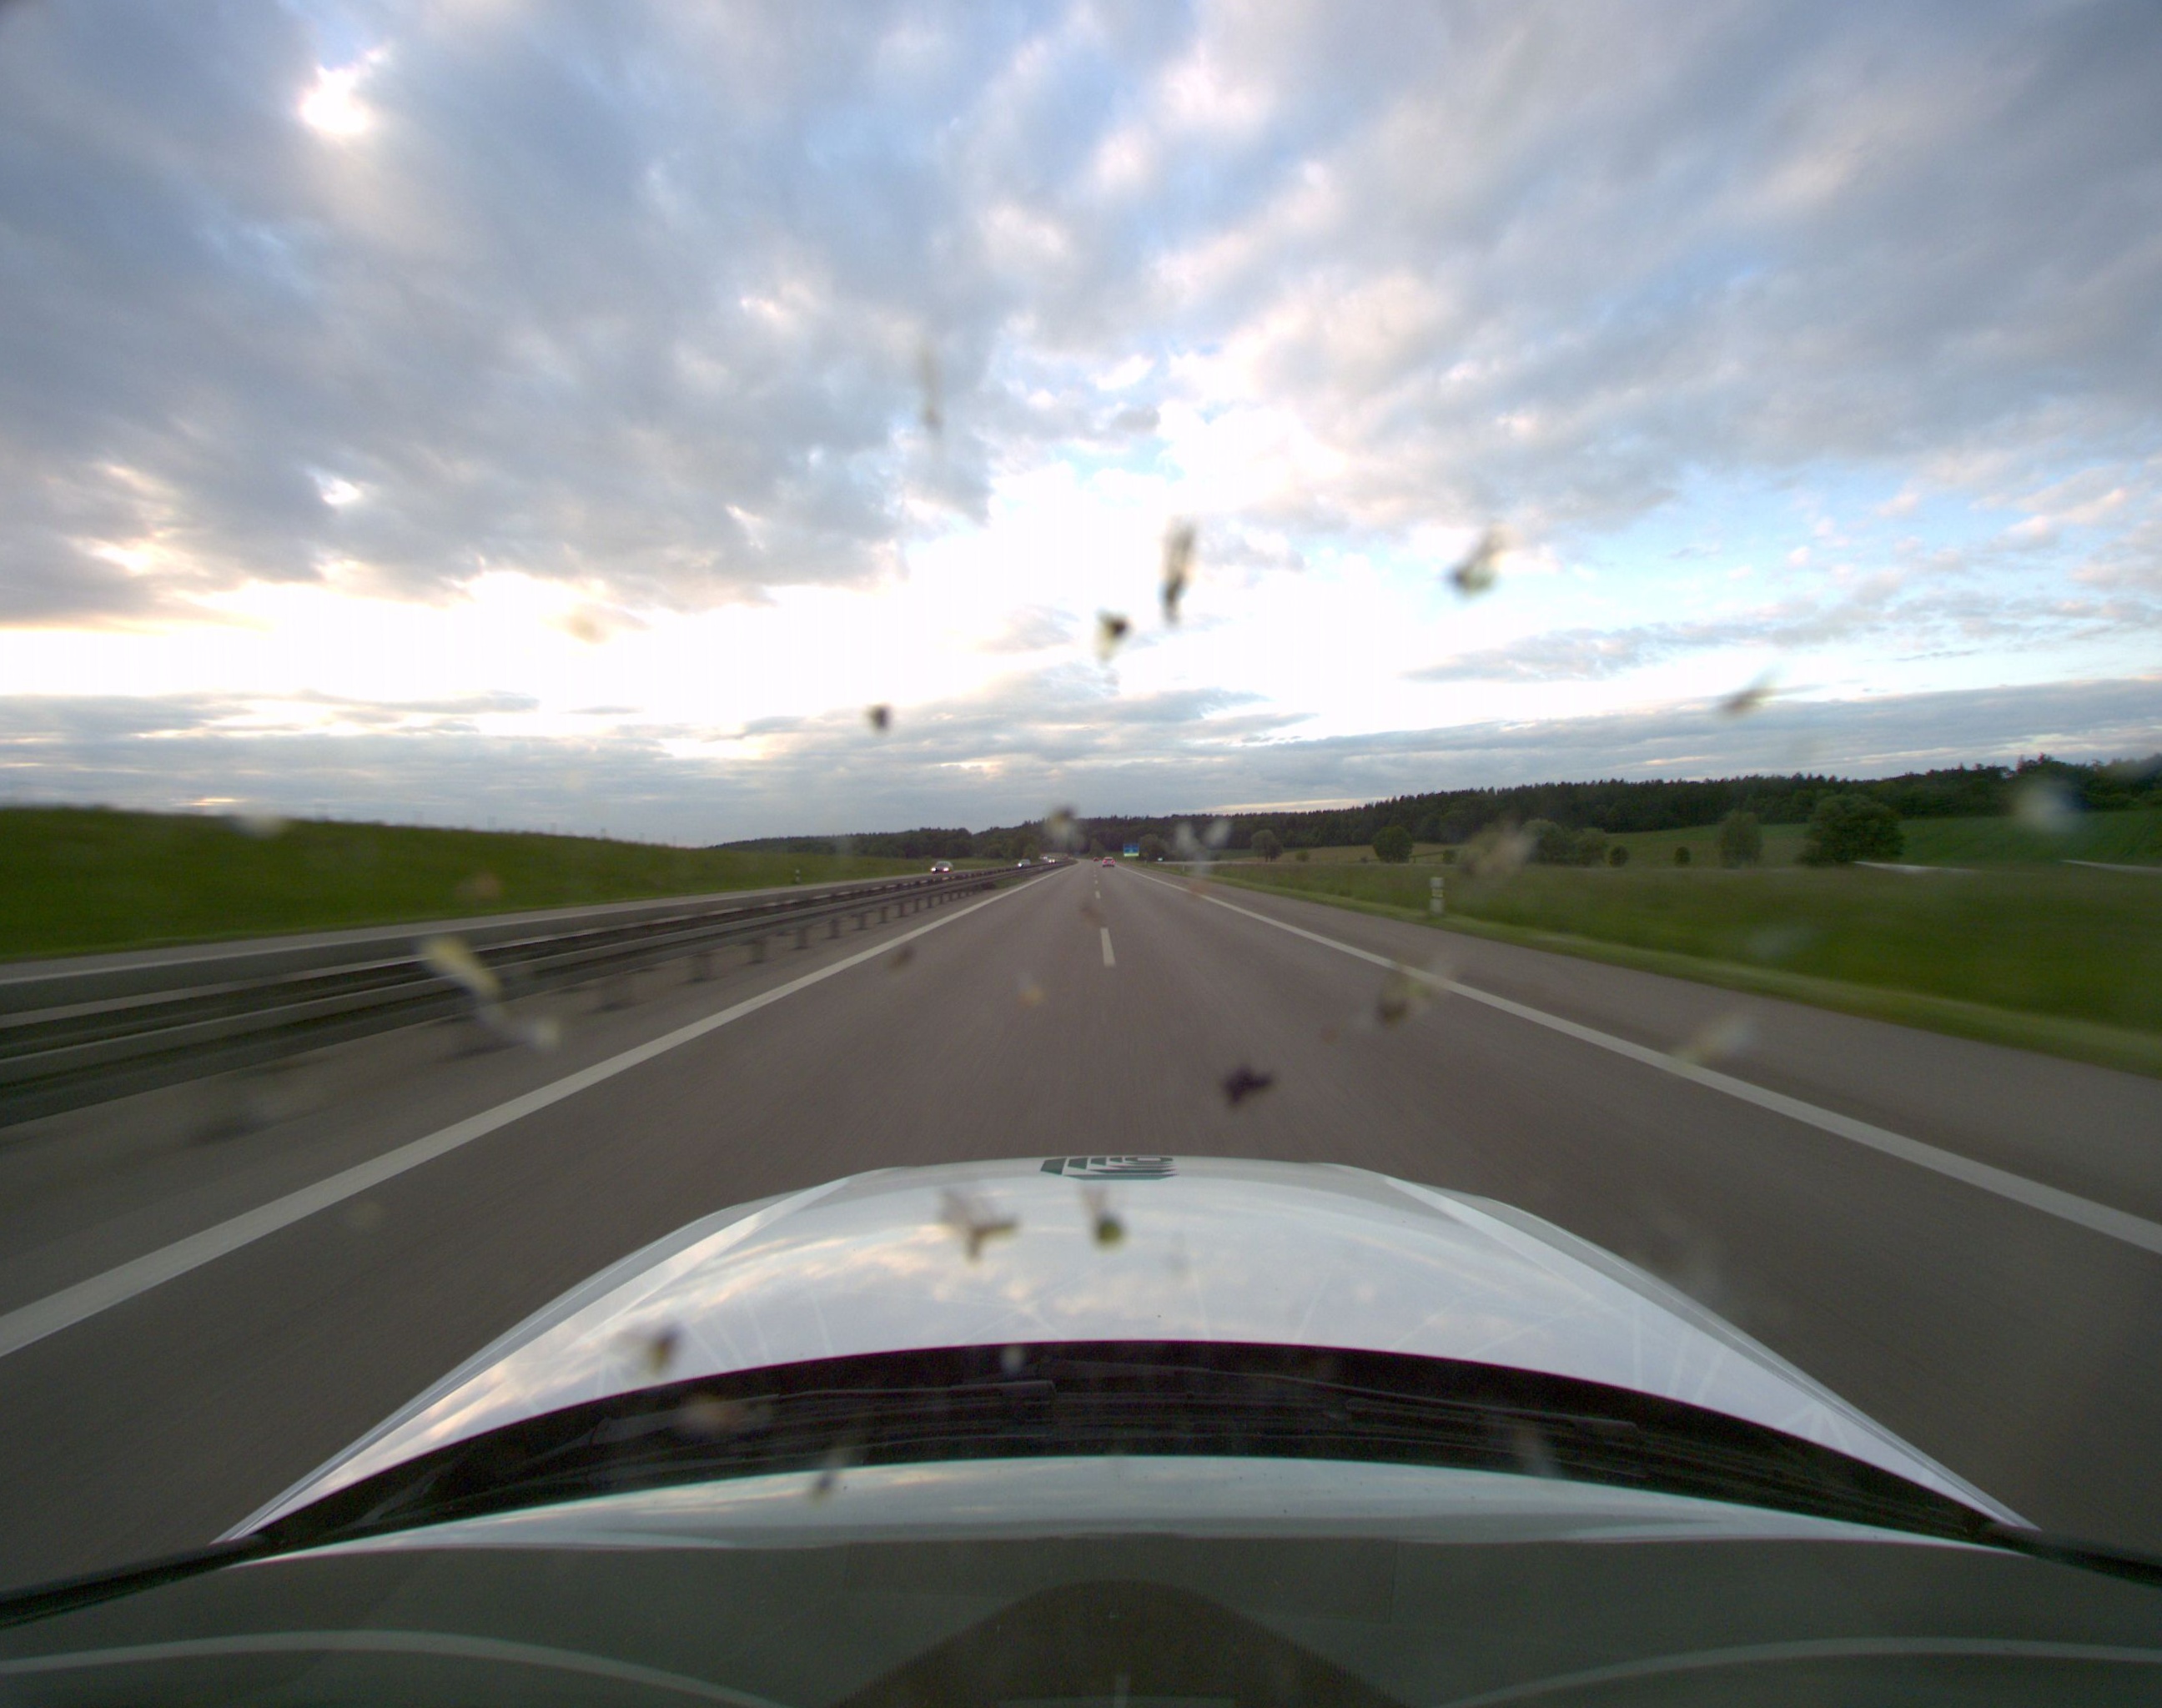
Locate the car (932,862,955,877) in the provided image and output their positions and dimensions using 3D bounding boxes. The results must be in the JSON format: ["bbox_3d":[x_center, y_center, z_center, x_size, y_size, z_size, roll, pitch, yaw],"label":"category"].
[{"bbox_3d":[-13.736,1.508,81.660,1.523,1.433,4.434,0,0,0],"label":"car"}]

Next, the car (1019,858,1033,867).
[{"bbox_3d":[-8.829,1.335,130.747,1.732,1.456,5.123,0,0,2],"label":"car"}]

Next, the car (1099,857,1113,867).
[{"bbox_3d":[3.839,1.202,123.688,1.946,1.531,4.078,0,0,-1],"label":"car"}]
